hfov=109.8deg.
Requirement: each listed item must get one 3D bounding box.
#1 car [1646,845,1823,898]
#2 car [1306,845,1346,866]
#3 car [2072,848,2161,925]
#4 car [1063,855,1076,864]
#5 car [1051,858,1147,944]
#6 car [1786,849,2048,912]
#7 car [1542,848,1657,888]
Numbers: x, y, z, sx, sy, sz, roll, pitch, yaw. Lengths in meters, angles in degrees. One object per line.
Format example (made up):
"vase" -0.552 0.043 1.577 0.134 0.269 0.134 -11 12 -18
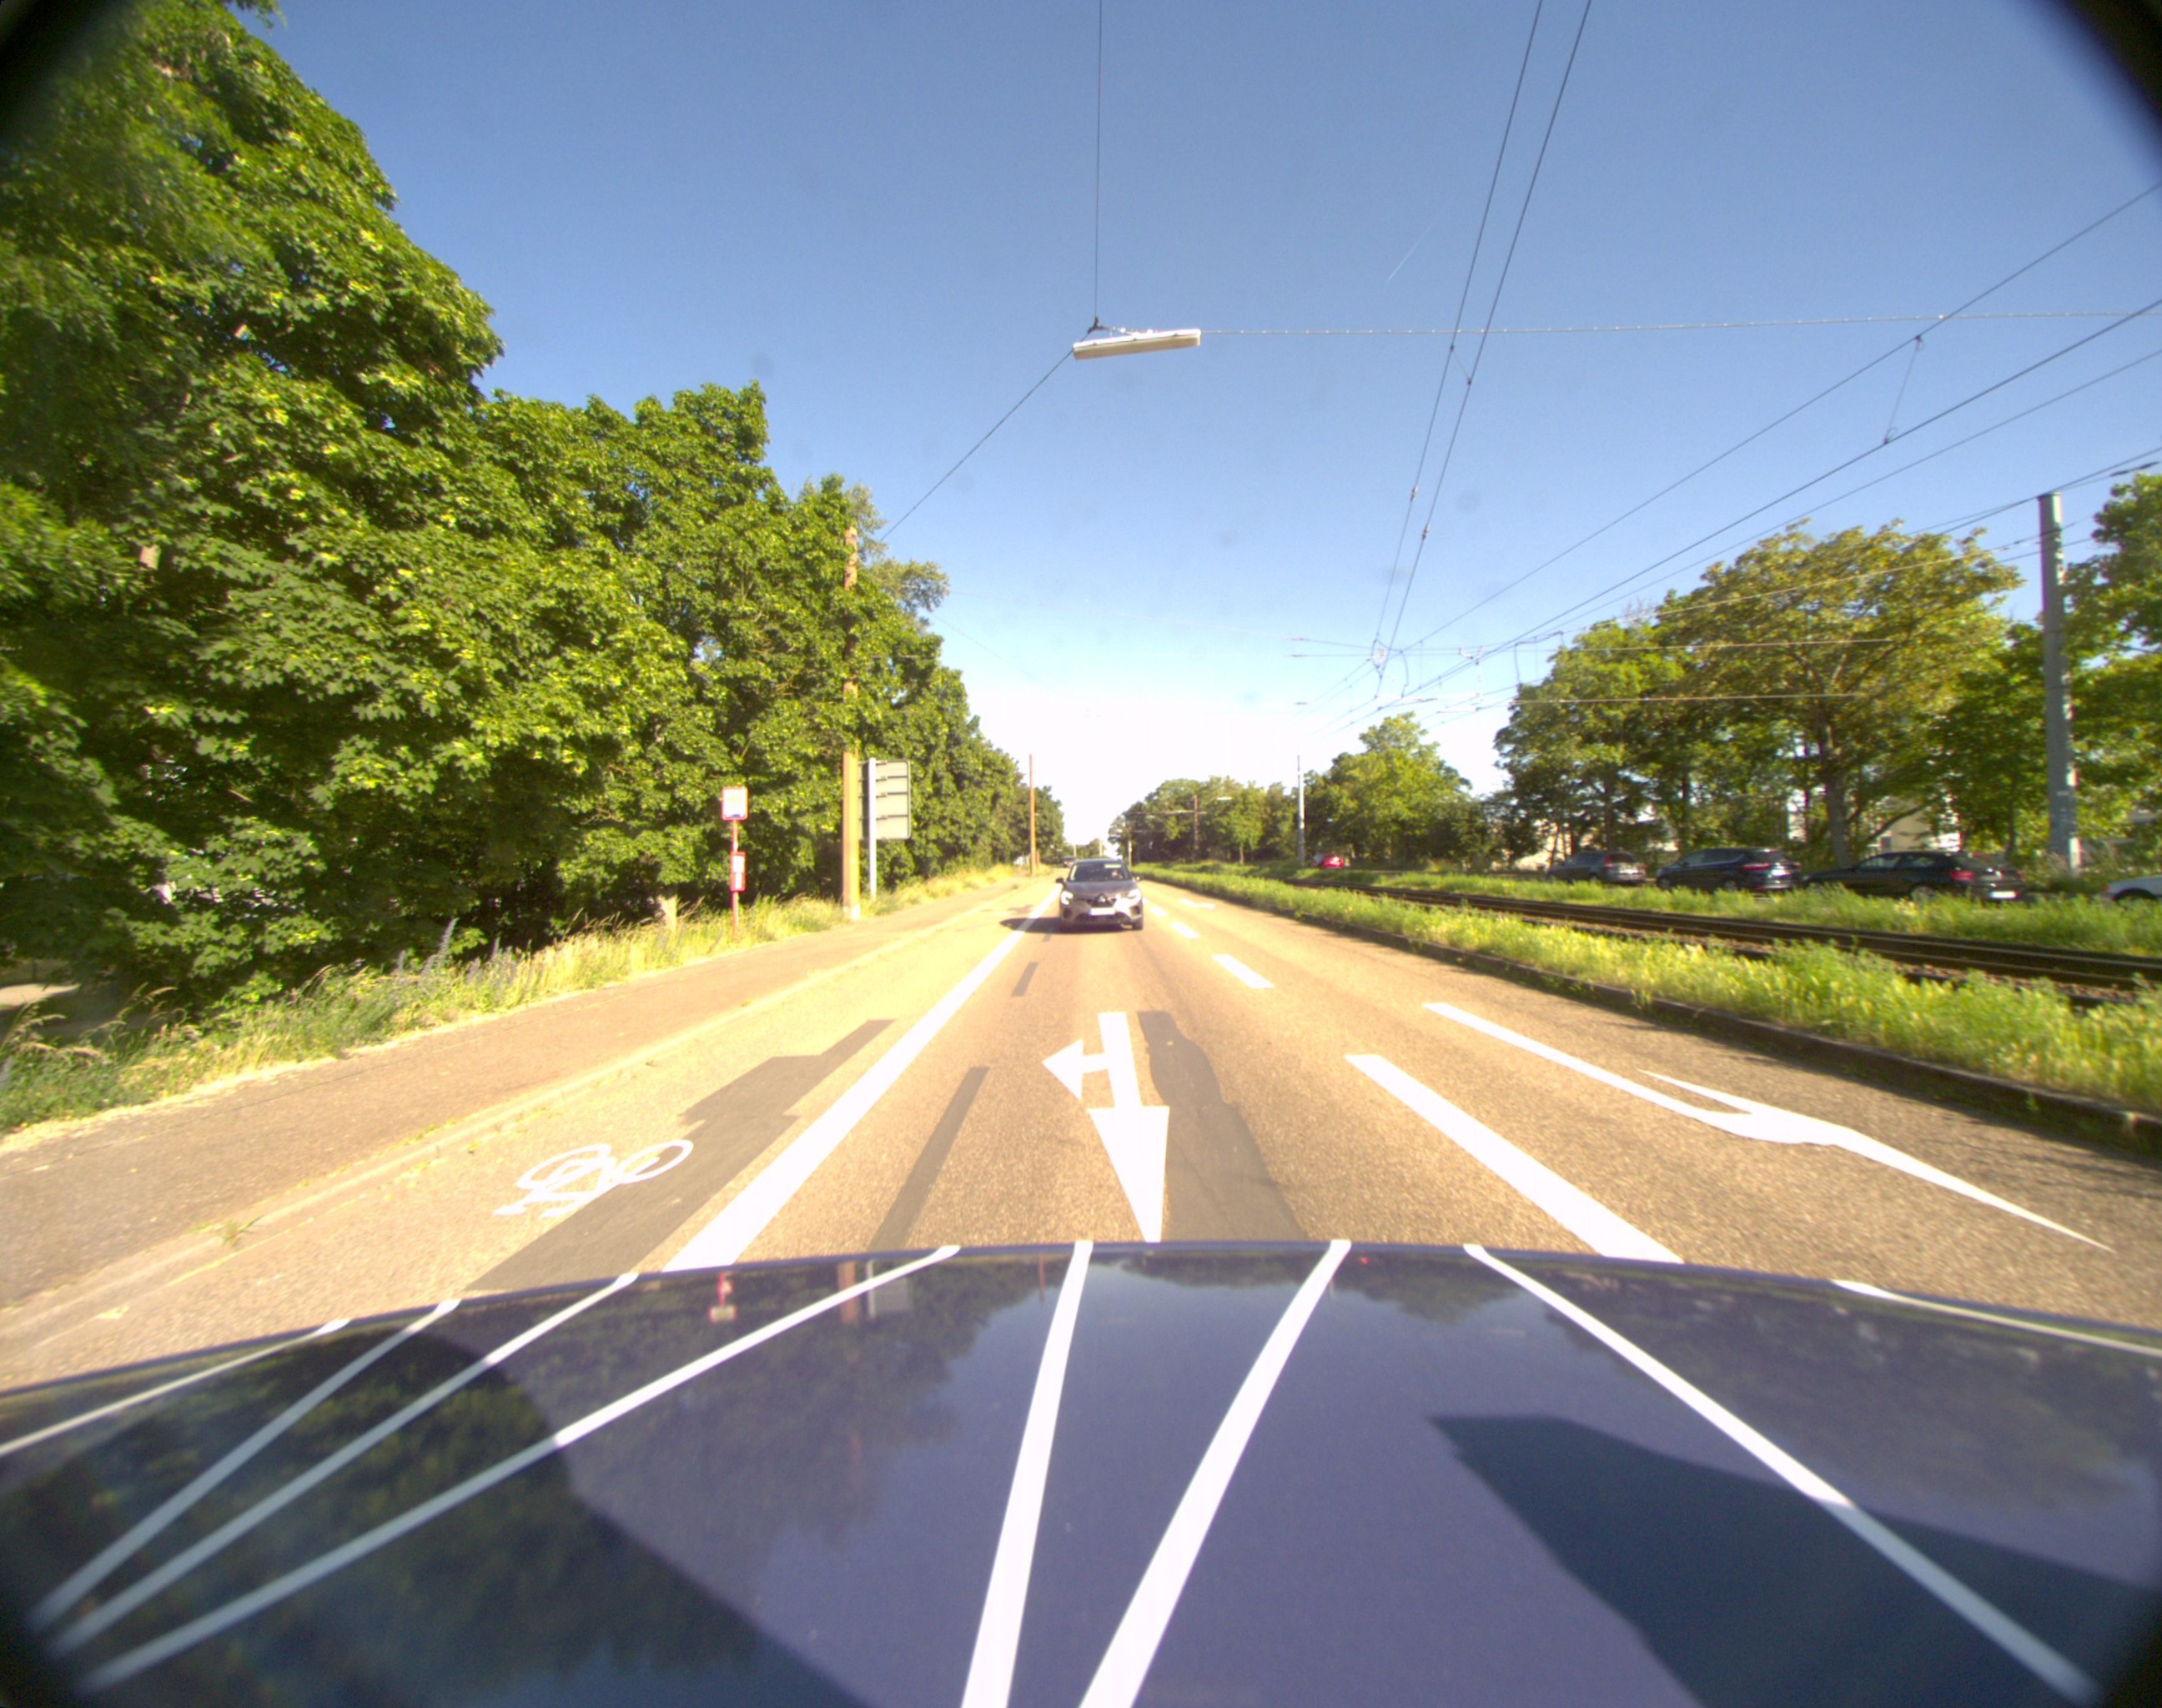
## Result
"car" 21.400 0.548 25.170 1.999 1.565 4.435 -1 0 -1
"car" 21.121 0.157 65.691 2.009 1.692 4.466 -1 0 -1
"car" 21.464 0.602 13.383 1.933 1.429 4.695 -1 0 1
"car" -2.206 1.005 142.321 1.999 1.577 3.998 -2 0 -6
"car" 0.364 0.930 17.003 1.822 1.589 4.413 -2 0 0
"car" 21.415 0.632 19.810 1.998 1.429 4.415 -1 0 1
"car" 21.531 0.532 31.807 1.740 1.485 4.327 -3 0 -1
